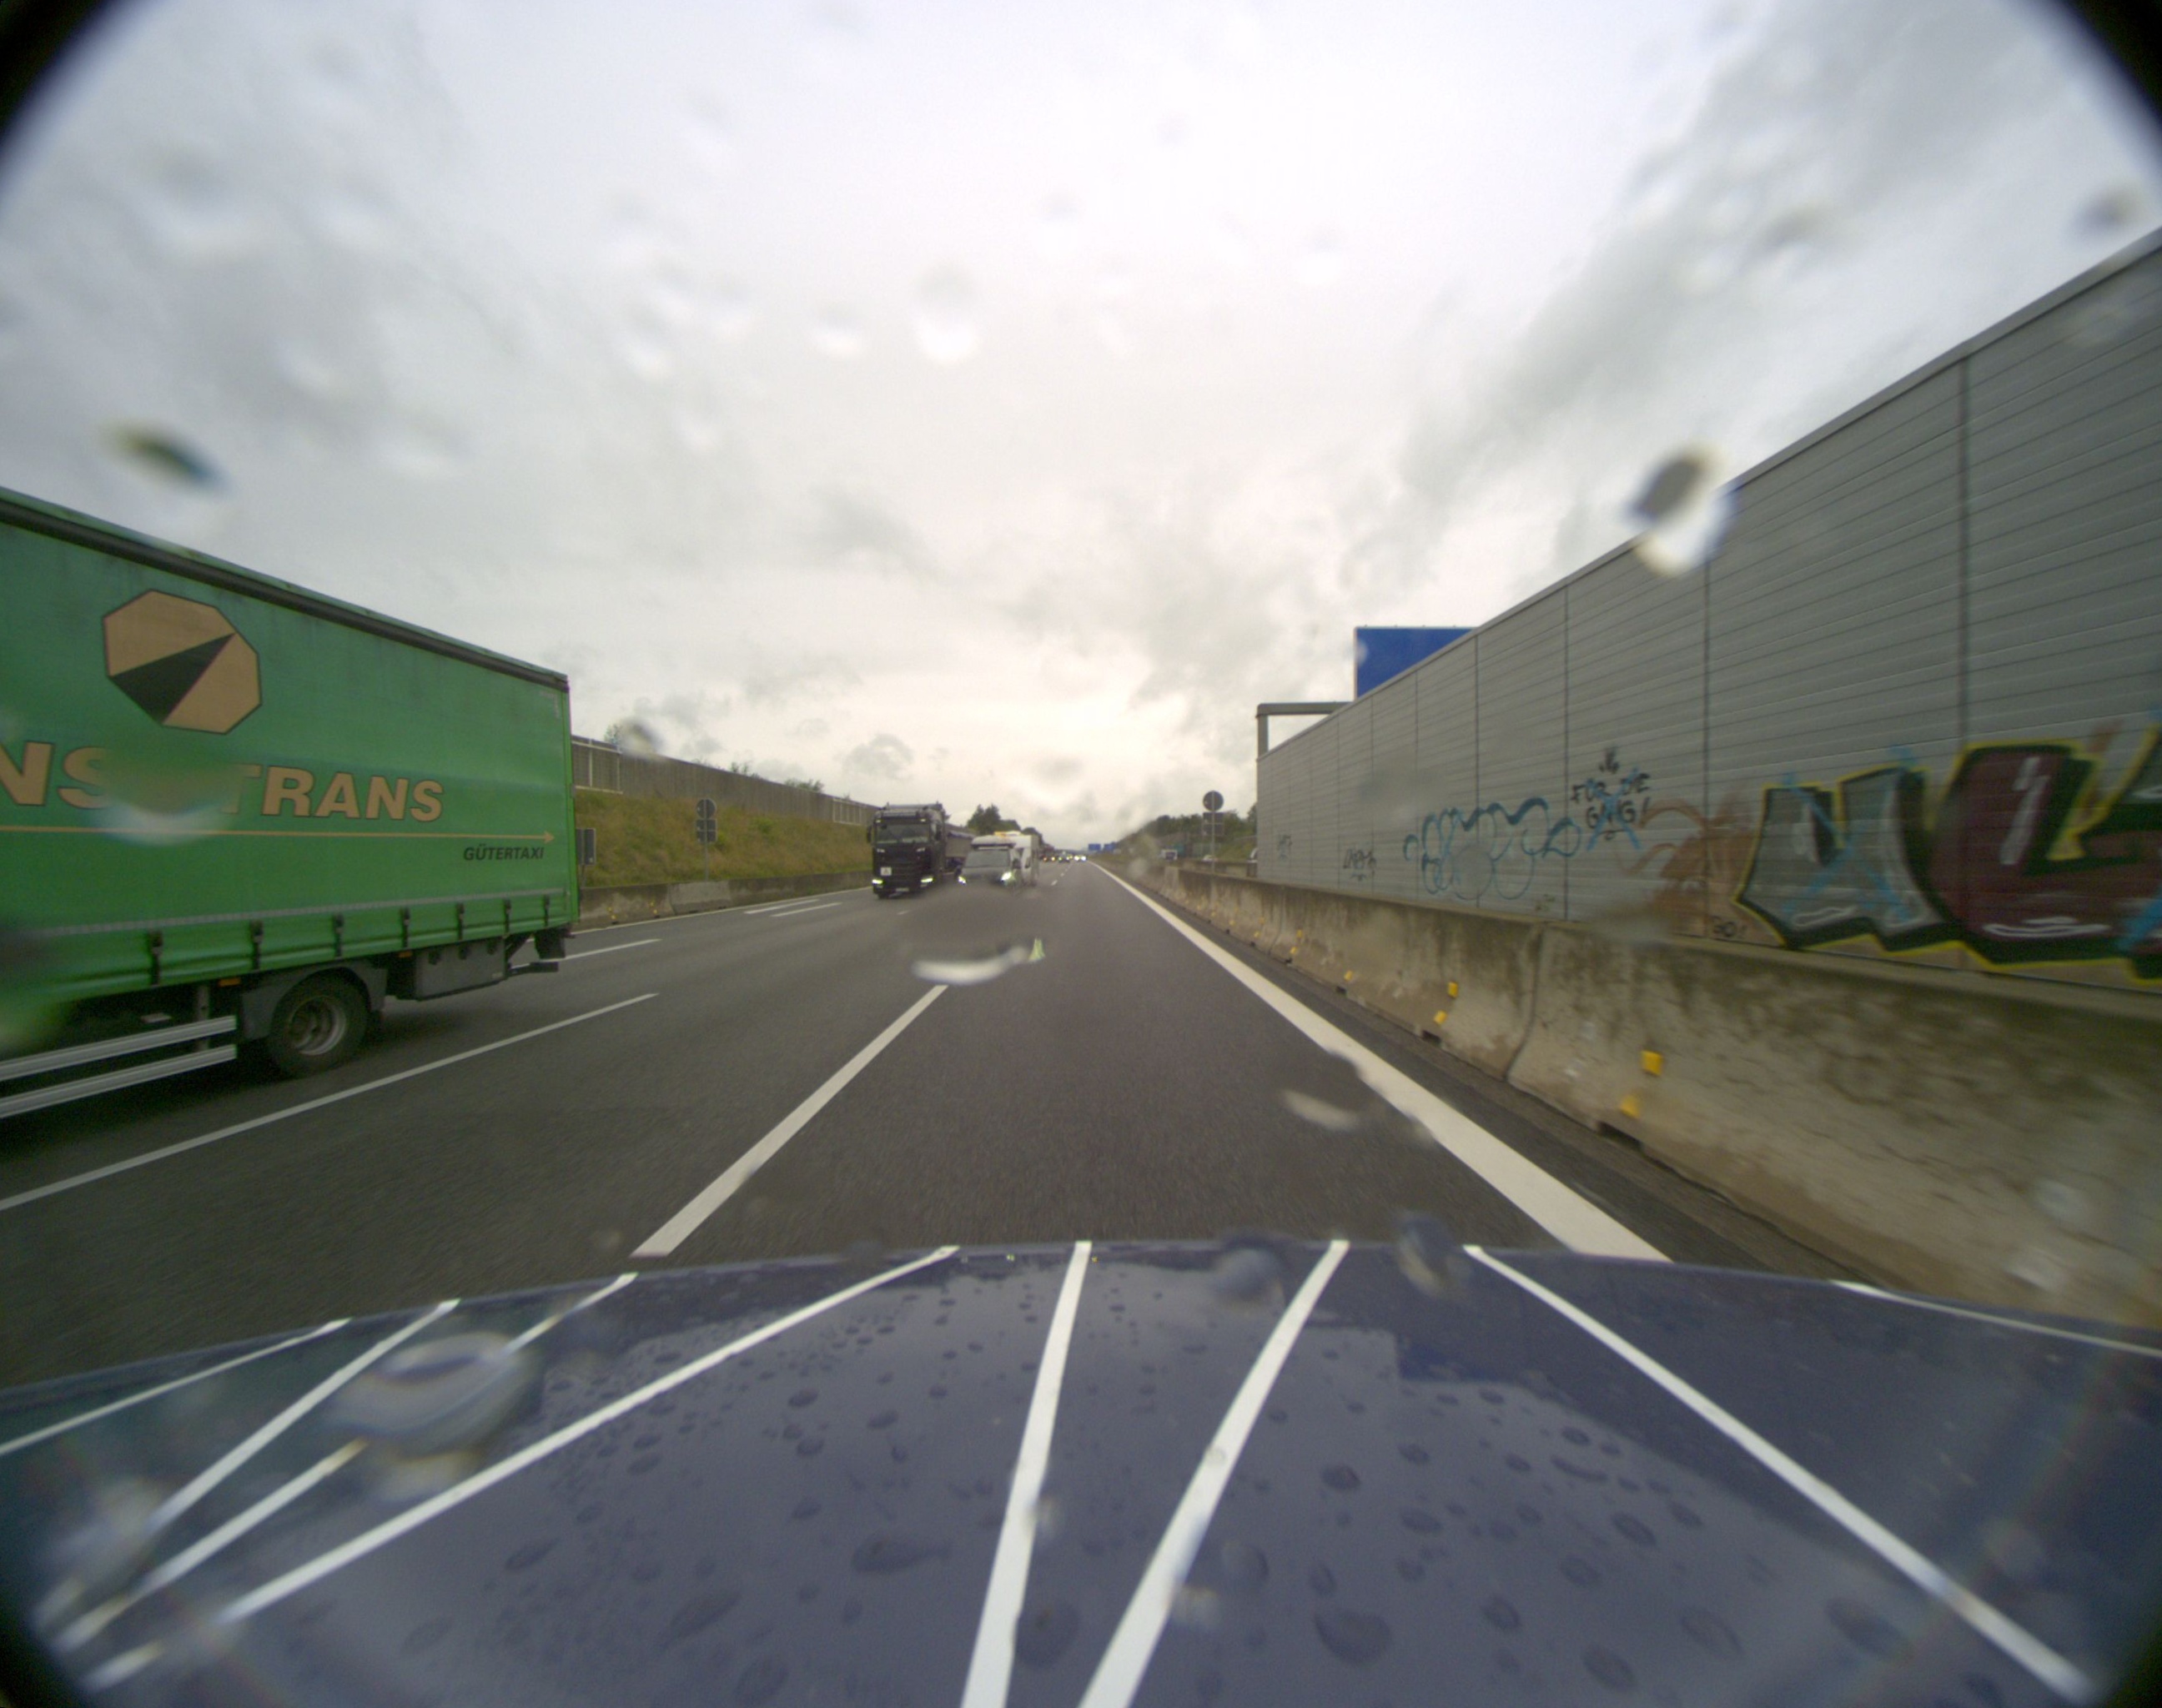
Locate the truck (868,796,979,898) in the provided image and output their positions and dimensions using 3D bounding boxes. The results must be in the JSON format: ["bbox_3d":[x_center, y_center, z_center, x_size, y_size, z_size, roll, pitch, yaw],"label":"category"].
[{"bbox_3d":[-6.951,-0.327,35.762,2.820,3.927,12.710,0,0,-1],"label":"truck"}]

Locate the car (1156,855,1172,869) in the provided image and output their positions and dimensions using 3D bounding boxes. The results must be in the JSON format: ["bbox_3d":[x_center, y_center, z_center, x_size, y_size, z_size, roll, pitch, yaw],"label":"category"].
[{"bbox_3d":[11.893,1.172,108.968,1.873,1.911,4.000,-2,0,1],"label":"car"}]

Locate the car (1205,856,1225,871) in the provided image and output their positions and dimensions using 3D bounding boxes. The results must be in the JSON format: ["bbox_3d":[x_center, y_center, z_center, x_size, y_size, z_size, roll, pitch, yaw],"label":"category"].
[{"bbox_3d":[19.104,1.303,108.588,1.999,1.969,3.999,-2,0,-1],"label":"car"}]

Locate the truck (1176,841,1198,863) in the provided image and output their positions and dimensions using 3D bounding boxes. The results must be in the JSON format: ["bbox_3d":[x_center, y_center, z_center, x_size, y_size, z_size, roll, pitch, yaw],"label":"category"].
[{"bbox_3d":[19.232,-0.316,138.327,2.870,3.816,7.521,-2,1,-1],"label":"truck"}]

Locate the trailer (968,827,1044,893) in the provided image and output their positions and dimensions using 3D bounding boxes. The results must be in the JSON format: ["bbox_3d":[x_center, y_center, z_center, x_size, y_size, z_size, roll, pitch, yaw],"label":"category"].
[{"bbox_3d":[-3.181,0.247,34.171,2.728,2.627,7.510,-1,0,-1],"label":"trailer"}]

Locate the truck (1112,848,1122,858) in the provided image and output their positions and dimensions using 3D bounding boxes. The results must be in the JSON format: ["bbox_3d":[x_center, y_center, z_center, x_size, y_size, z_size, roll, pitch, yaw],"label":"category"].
[{"bbox_3d":[12.187,-0.394,258.445,2.963,3.049,8.726,-2,0,0],"label":"truck"}]

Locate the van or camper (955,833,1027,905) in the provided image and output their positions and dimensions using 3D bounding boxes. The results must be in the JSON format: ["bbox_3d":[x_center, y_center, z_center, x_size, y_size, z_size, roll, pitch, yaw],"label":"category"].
[{"bbox_3d":[-3.111,0.497,27.530,1.895,2.256,5.679,-2,0,0],"label":"van or camper"}]

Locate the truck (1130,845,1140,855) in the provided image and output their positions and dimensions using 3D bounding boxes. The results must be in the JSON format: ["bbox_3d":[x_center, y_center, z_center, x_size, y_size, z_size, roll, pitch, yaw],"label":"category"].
[{"bbox_3d":[17.095,-1.282,242.053,2.628,3.002,5.176,-2,1,0],"label":"truck"}]

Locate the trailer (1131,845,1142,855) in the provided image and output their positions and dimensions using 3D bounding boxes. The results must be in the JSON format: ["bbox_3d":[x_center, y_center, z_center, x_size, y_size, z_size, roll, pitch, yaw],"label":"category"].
[{"bbox_3d":[17.174,-1.247,235.483,2.618,2.971,10.795,-2,0,-1],"label":"trailer"}]

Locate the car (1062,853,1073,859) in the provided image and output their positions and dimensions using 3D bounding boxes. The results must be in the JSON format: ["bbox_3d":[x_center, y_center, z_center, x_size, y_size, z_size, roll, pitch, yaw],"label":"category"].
[{"bbox_3d":[-2.501,0.289,144.281,2.061,1.020,3.437,-2,0,-1],"label":"car"}]

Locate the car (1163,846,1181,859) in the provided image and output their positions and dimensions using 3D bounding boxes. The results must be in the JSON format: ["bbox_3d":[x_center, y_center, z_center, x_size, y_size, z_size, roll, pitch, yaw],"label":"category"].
[{"bbox_3d":[14.971,-0.315,125.517,2.219,2.002,7.058,-2,0,0],"label":"car"}]

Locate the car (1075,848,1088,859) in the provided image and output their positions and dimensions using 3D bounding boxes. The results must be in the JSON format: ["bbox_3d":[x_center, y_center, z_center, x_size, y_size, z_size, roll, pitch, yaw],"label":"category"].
[{"bbox_3d":[0.099,-0.123,165.009,2.680,2.340,5.807,-1,0,-3],"label":"car"}]

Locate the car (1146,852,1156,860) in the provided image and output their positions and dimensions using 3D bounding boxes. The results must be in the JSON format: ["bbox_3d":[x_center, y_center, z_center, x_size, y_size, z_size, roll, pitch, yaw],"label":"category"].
[{"bbox_3d":[17.708,0.414,191.367,1.912,2.002,5.953,-2,0,0],"label":"car"}]

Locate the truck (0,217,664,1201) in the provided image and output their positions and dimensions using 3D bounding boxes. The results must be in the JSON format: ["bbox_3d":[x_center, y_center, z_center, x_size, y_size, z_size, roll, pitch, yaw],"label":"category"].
[{"bbox_3d":[-7.721,-0.743,4.505,4.007,5.235,11.218,-2,1,1],"label":"truck"}]

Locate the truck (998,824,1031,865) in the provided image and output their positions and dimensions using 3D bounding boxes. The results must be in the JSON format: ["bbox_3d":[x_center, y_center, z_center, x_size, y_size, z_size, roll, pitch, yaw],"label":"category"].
[{"bbox_3d":[-6.755,-0.941,78.089,2.693,3.935,9.324,-2,1,-2],"label":"truck"}]

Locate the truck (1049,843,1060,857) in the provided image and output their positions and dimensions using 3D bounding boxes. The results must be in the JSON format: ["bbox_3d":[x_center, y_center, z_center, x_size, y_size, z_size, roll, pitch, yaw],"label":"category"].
[{"bbox_3d":[-6.471,-0.978,186.755,2.617,3.218,4.632,-1,0,-1],"label":"truck"}]

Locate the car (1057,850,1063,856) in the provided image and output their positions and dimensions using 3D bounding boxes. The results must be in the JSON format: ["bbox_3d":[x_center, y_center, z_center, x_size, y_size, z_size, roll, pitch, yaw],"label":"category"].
[{"bbox_3d":[-7.220,-0.307,258.502,1.999,1.747,3.999,-1,0,0],"label":"car"}]
